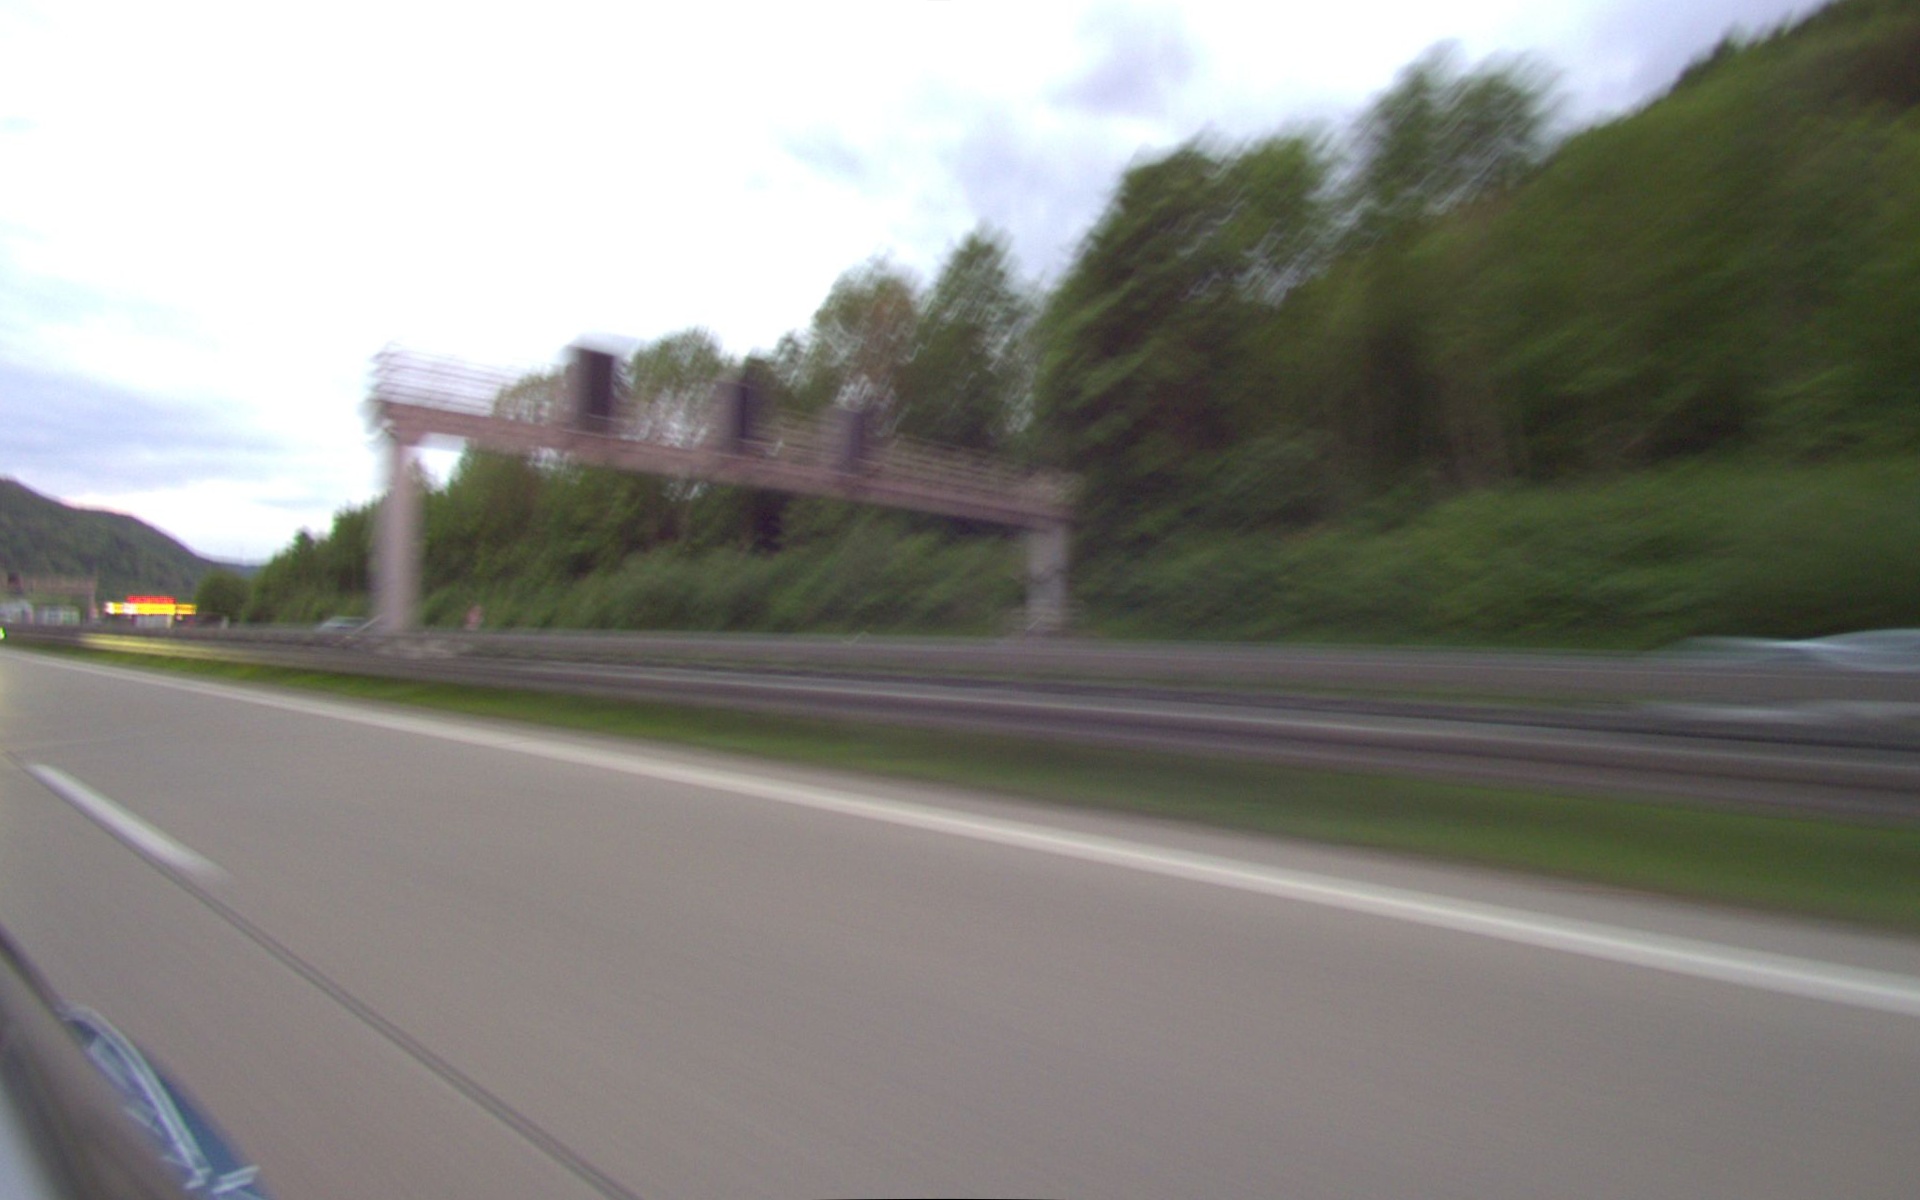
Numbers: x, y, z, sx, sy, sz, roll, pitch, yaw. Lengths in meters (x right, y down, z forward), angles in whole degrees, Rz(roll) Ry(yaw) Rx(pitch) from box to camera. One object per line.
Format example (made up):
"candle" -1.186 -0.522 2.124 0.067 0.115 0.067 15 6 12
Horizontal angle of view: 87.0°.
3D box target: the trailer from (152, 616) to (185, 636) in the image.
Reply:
"trailer" -155.630 5.171 198.885 12.712 3.707 2.843 -2 -2 42

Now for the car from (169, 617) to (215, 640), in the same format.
"car" -61.109 2.256 80.496 5.657 1.747 1.829 -1 -1 41

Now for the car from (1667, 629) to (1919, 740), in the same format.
"car" 13.279 1.202 15.036 4.388 1.493 1.744 -1 -1 41

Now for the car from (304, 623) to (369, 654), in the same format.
"car" -35.613 2.165 57.779 4.773 1.651 1.829 -1 -1 41

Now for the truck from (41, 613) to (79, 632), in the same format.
"truck" -173.891 4.402 195.500 13.766 3.451 2.847 -2 -1 37

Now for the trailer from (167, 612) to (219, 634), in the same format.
"trailer" -130.933 3.938 173.058 3.018 3.707 13.384 0 -1 -19
